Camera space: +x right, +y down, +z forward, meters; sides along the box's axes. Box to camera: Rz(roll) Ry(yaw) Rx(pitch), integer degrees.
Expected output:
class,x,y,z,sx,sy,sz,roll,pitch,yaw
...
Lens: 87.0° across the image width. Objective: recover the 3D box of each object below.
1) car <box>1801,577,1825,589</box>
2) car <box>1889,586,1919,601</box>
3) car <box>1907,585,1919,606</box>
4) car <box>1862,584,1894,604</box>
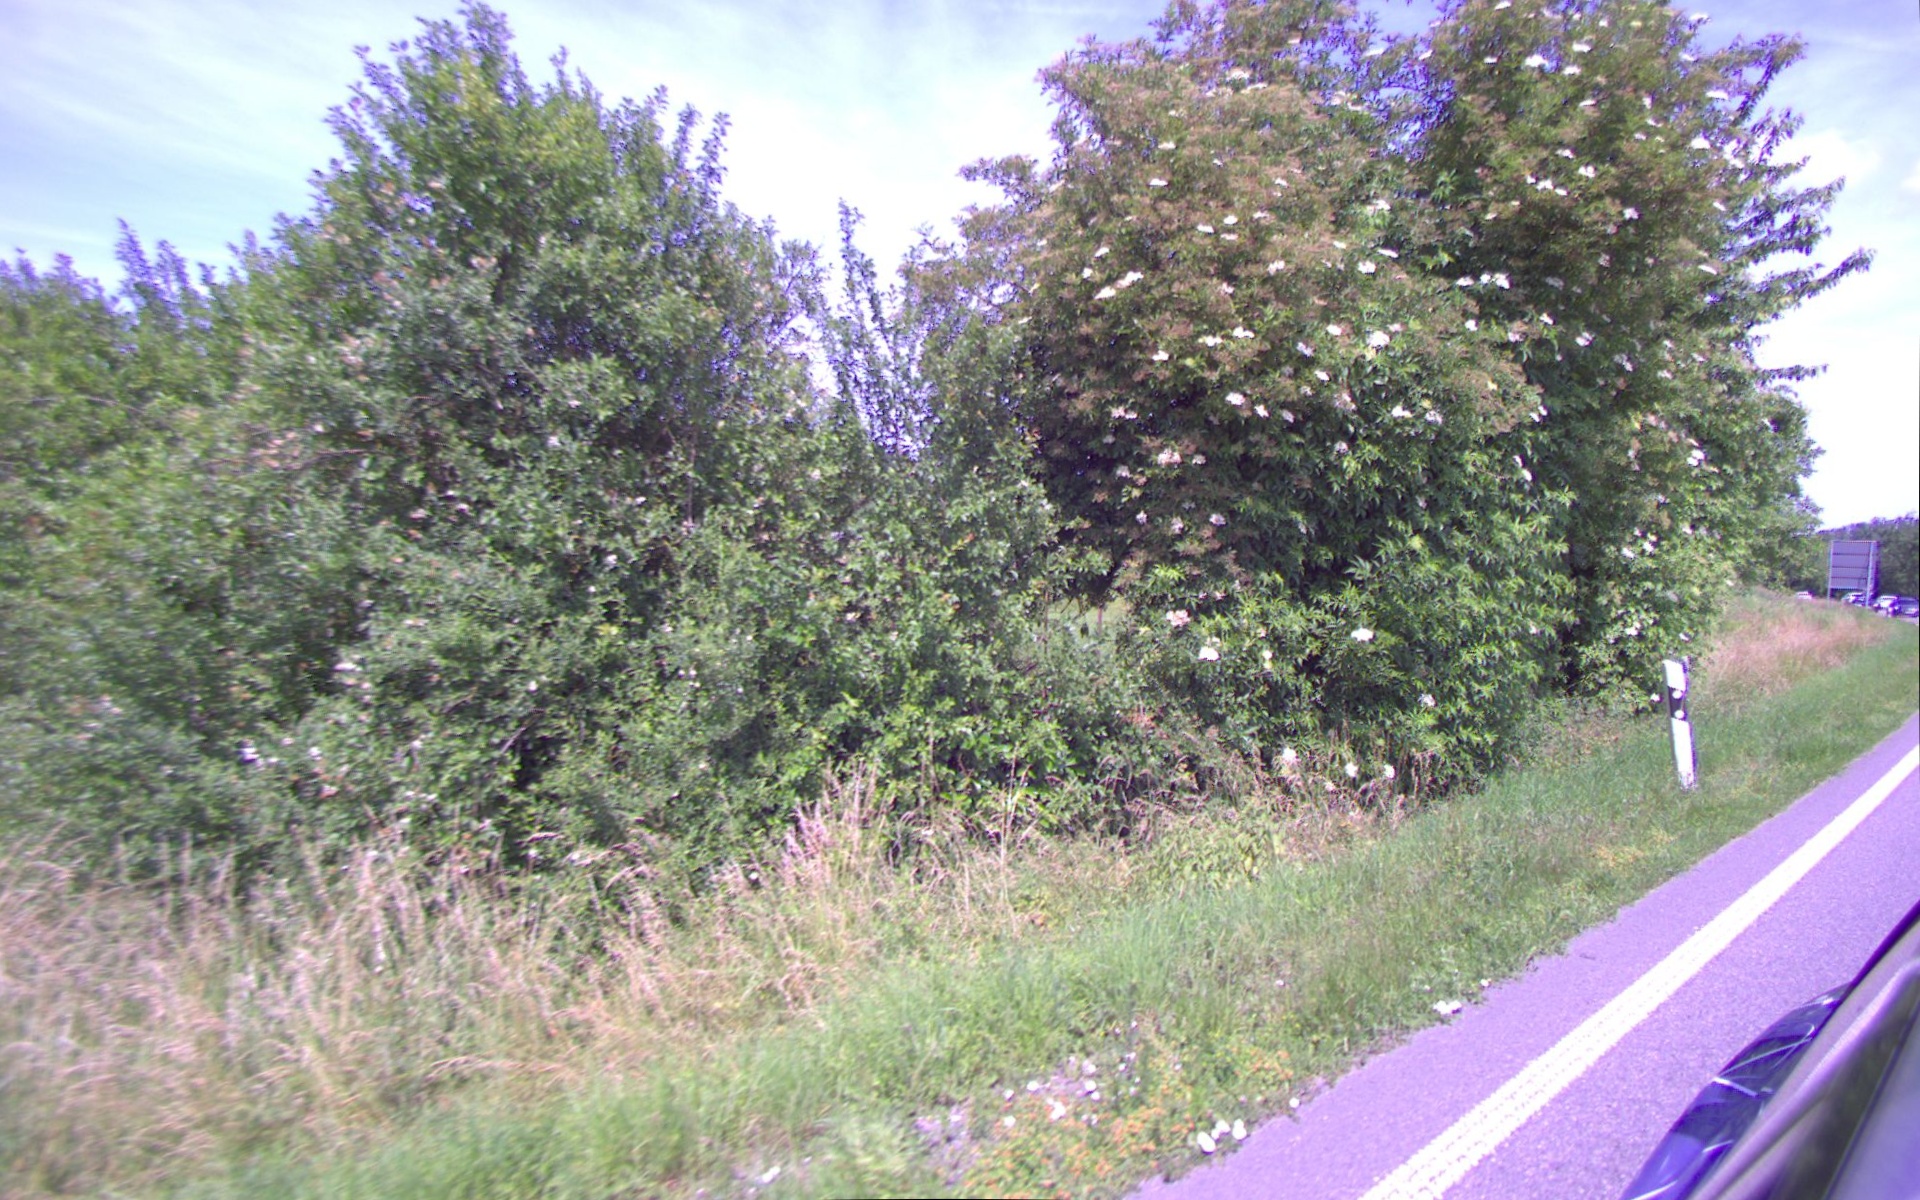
class,x,y,z,sx,sy,sz,roll,pitch,yaw
car,119.572,-2.378,141.913,1.782,1.540,4.116,4,4,30
car,97.492,-0.683,104.433,1.745,1.431,3.727,4,4,34
car,73.843,-0.315,77.429,1.819,1.537,3.941,5,4,41
car,86.587,-0.559,95.475,1.656,1.670,3.951,4,4,34
